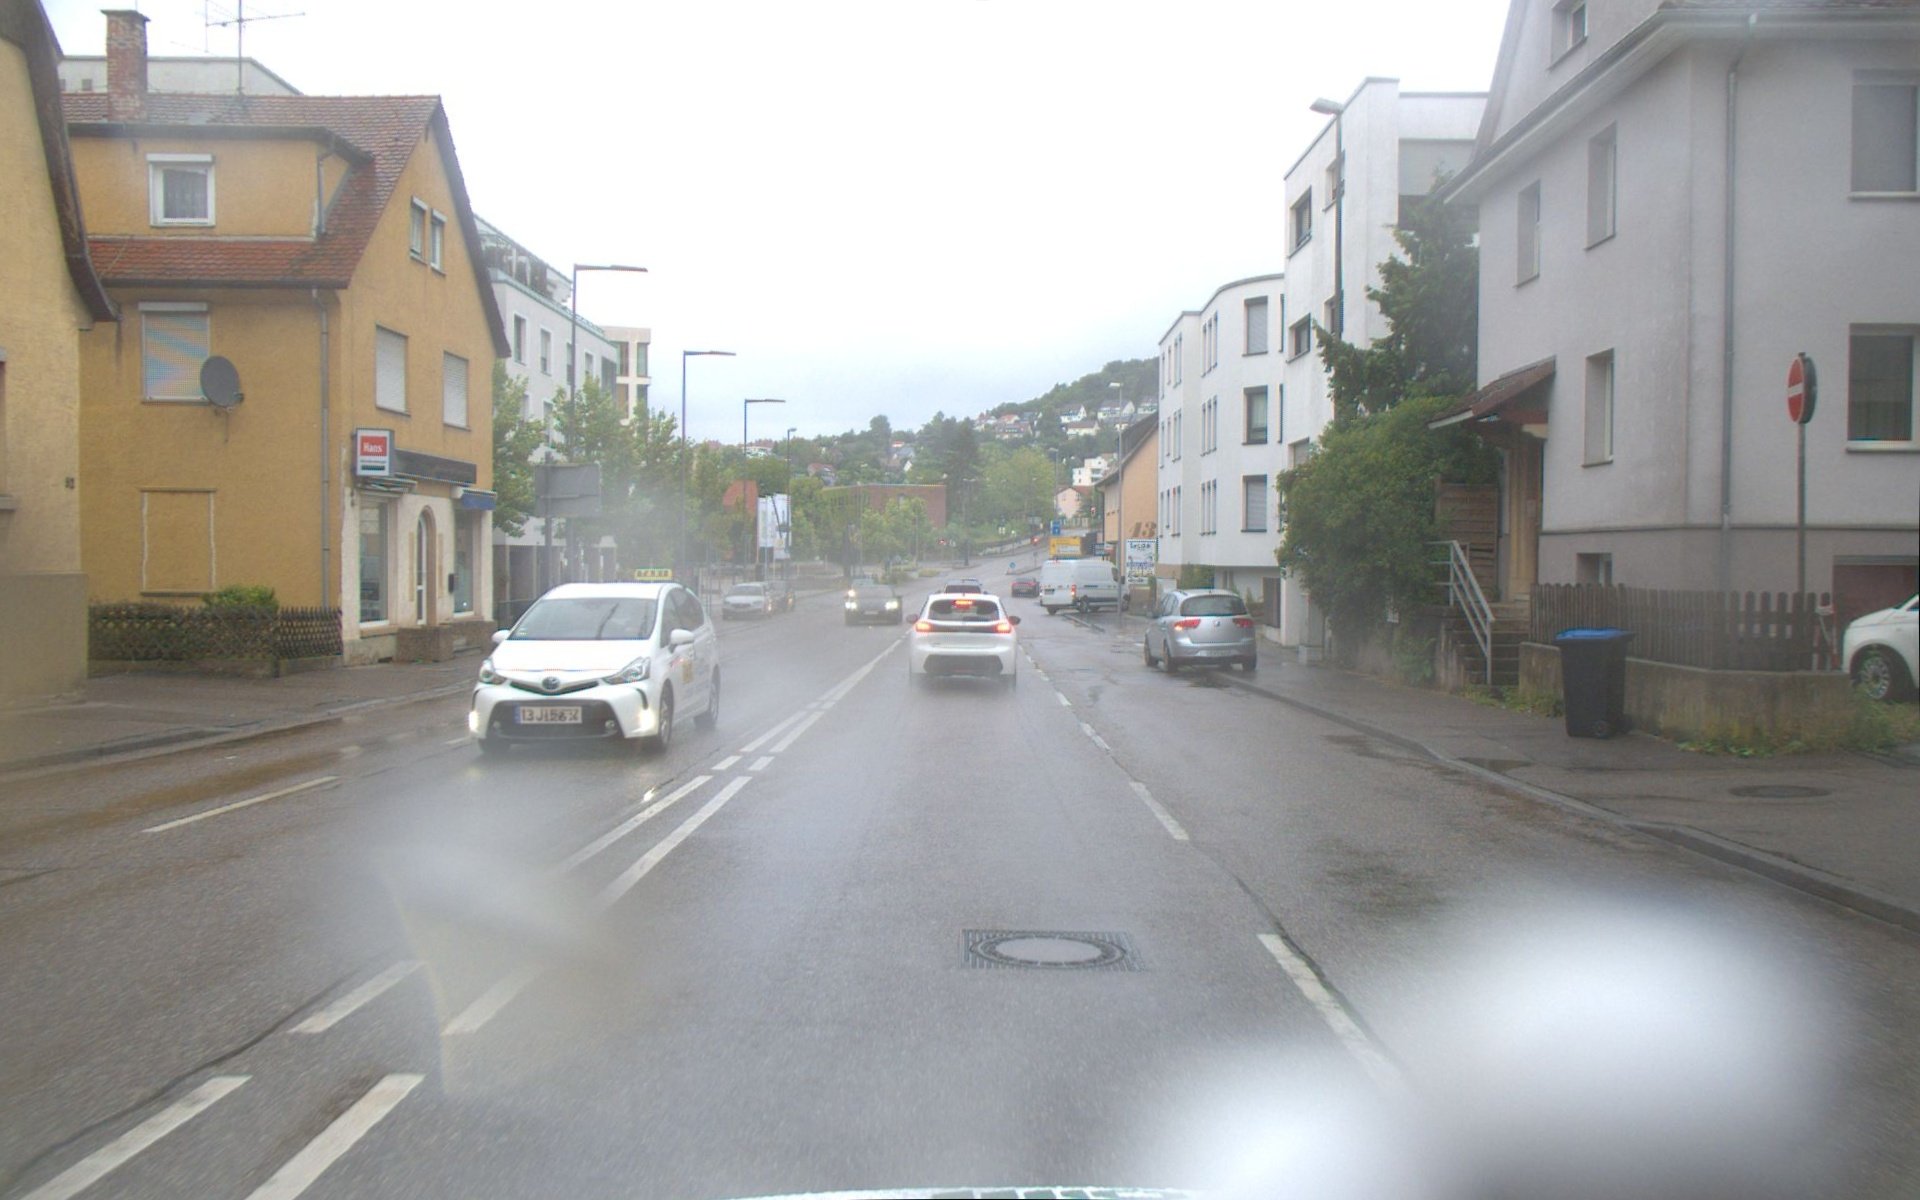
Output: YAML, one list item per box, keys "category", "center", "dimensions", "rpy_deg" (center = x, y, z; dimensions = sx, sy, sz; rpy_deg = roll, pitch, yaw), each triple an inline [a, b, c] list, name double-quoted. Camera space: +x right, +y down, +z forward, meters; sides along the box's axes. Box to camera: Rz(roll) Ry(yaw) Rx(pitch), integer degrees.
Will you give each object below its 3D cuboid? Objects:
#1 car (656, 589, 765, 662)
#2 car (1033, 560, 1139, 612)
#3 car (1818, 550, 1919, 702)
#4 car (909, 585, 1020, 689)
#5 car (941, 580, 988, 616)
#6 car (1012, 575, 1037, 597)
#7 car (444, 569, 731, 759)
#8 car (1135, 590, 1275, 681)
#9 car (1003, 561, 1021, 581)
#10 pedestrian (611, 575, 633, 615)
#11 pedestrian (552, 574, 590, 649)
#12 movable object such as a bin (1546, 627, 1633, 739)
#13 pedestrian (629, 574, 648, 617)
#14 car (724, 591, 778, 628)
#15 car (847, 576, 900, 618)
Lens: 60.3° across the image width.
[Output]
- category: "car"
  center: [-5.382, 0.539, 36.134]
  dimensions: [1.615, 1.442, 4.139]
  rpy_deg: [-3, -1, 1]
- category: "car"
  center: [6.228, -0.661, 80.640]
  dimensions: [2.250, 2.424, 6.606]
  rpy_deg: [-1, -1, 33]
- category: "car"
  center: [10.696, 0.234, 16.781]
  dimensions: [1.338, 1.528, 3.304]
  rpy_deg: [-3, 1, -31]
- category: "car"
  center: [0.072, 0.579, 26.720]
  dimensions: [1.656, 1.546, 3.932]
  rpy_deg: [0, -1, 0]
- category: "car"
  center: [0.151, -0.092, 61.964]
  dimensions: [1.706, 1.318, 3.333]
  rpy_deg: [-1, 1, -1]
- category: "car"
  center: [4.862, -1.082, 124.484]
  dimensions: [1.698, 1.411, 3.353]
  rpy_deg: [1, 4, -1]
- category: "car"
  center: [-3.575, 0.577, 16.779]
  dimensions: [1.840, 1.637, 4.718]
  rpy_deg: [0, 0, 0]
- category: "car"
  center: [4.723, 0.702, 32.446]
  dimensions: [1.971, 1.650, 4.358]
  rpy_deg: [1, -2, -2]
- category: "car"
  center: [5.673, -3.201, 180.985]
  dimensions: [1.952, 2.049, 4.000]
  rpy_deg: [-1, -1, 1]
- category: "pedestrian"
  center: [-15.393, -0.224, 75.361]
  dimensions: [0.792, 1.768, 1.003]
  rpy_deg: [-1, -1, 0]
- category: "pedestrian"
  center: [-9.575, 0.274, 40.731]
  dimensions: [0.785, 1.819, 0.881]
  rpy_deg: [-1, -1, -7]
- category: "movable object such as a bin"
  center: [6.427, 0.838, 16.914]
  dimensions: [0.564, 1.066, 0.830]
  rpy_deg: [-1, 2, 0]
- category: "pedestrian"
  center: [-16.686, -0.224, 85.813]
  dimensions: [0.731, 2.182, 0.771]
  rpy_deg: [0, -1, 13]
- category: "car"
  center: [-8.639, 0.386, 68.711]
  dimensions: [1.759, 1.488, 4.477]
  rpy_deg: [0, 0, -1]
- category: "car"
  center: [-3.123, -0.090, 60.438]
  dimensions: [1.732, 1.438, 4.525]
  rpy_deg: [-1, 0, 0]
